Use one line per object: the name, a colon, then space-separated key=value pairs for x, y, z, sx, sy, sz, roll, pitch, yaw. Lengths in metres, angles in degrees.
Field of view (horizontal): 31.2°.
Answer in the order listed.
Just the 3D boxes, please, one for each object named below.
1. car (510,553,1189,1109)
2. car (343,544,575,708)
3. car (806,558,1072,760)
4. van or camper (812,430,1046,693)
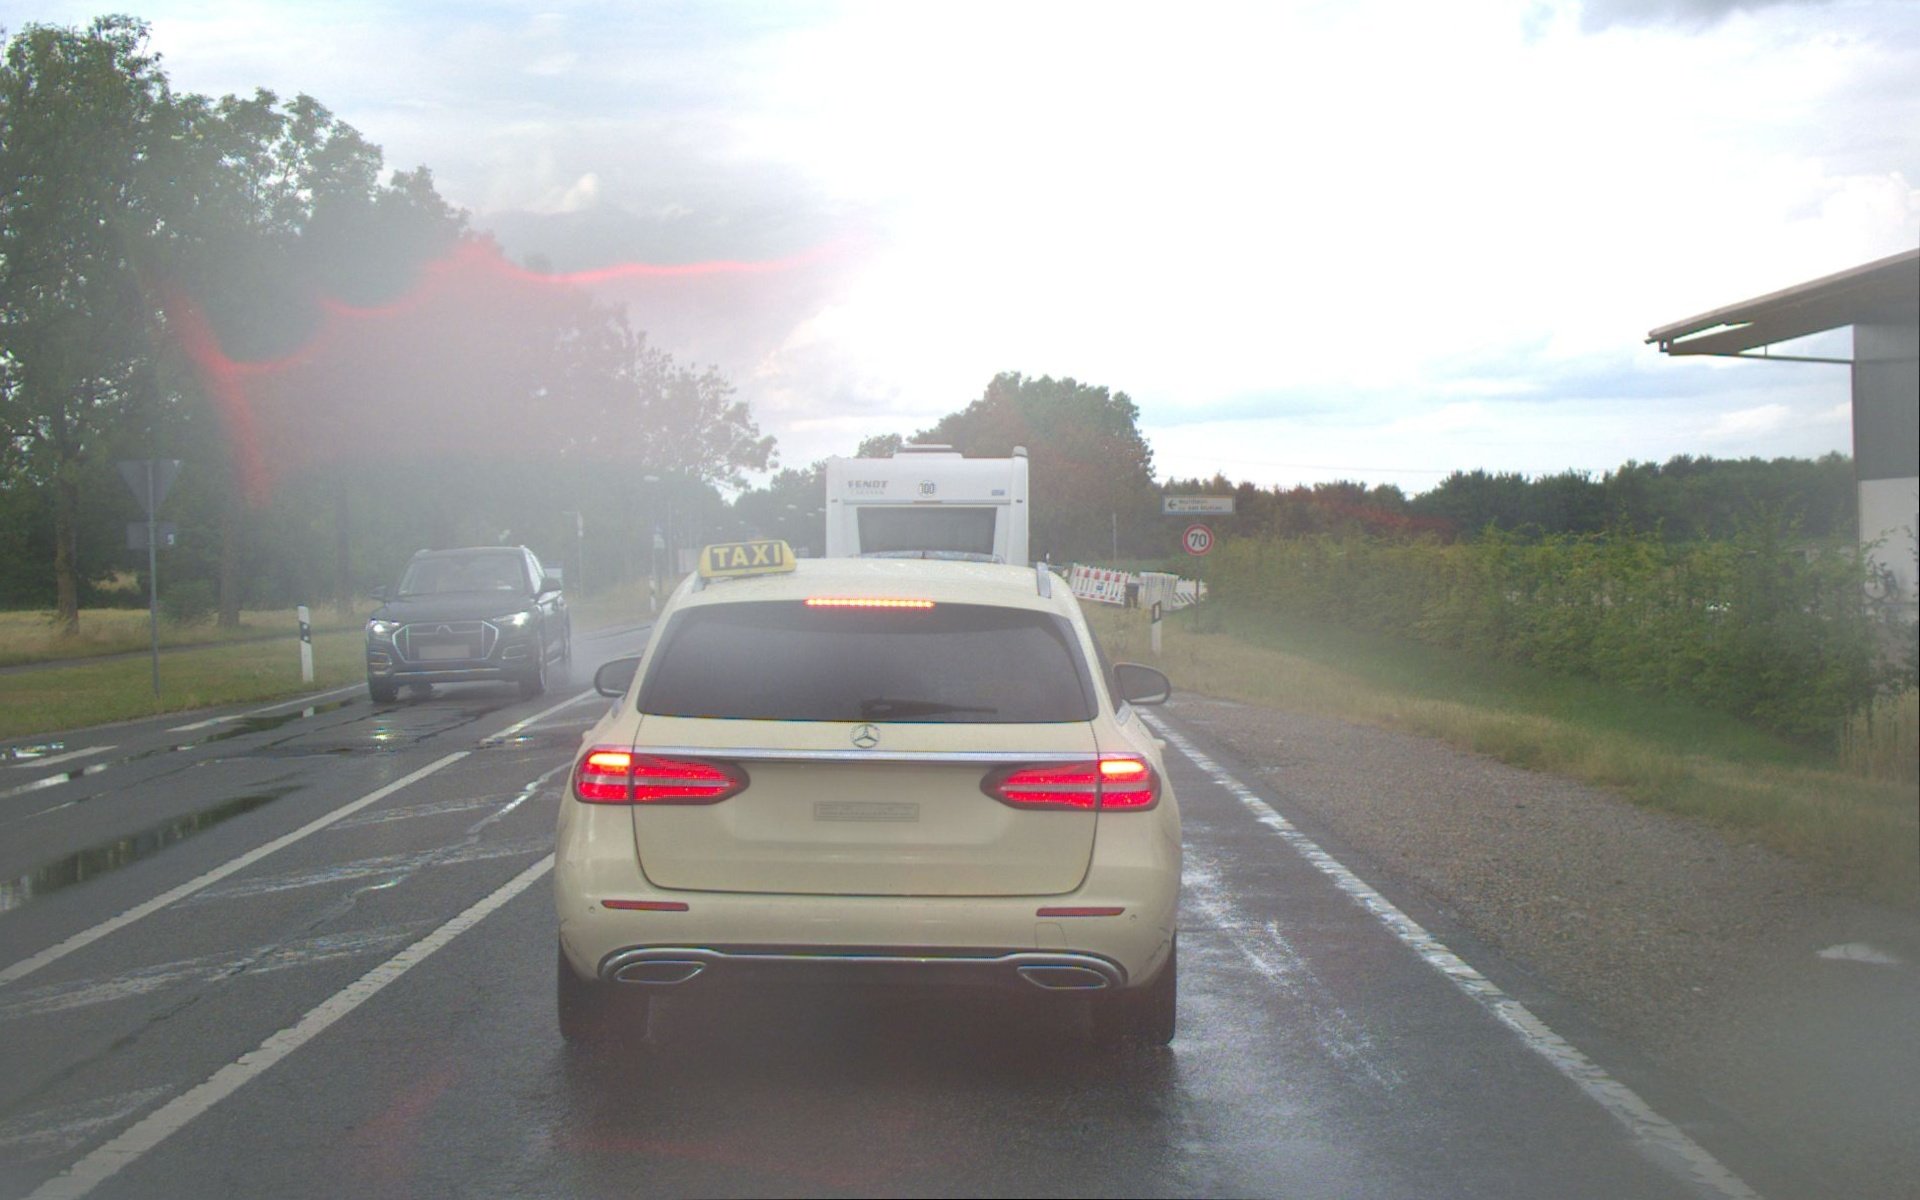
car: x=-0.296 y=0.588 z=11.179 sx=1.797 sy=1.459 sz=4.031 roll=1 pitch=1 yaw=0
car: x=-5.542 y=0.248 z=38.509 sx=1.916 sy=1.626 sz=4.357 roll=-3 pitch=1 yaw=0
car: x=-0.190 y=0.395 z=26.477 sx=1.894 sy=1.424 sz=3.928 roll=0 pitch=1 yaw=-1
van or camper: x=-0.318 y=-0.462 z=40.777 sx=2.497 sy=2.821 sz=5.934 roll=-2 pitch=1 yaw=0
